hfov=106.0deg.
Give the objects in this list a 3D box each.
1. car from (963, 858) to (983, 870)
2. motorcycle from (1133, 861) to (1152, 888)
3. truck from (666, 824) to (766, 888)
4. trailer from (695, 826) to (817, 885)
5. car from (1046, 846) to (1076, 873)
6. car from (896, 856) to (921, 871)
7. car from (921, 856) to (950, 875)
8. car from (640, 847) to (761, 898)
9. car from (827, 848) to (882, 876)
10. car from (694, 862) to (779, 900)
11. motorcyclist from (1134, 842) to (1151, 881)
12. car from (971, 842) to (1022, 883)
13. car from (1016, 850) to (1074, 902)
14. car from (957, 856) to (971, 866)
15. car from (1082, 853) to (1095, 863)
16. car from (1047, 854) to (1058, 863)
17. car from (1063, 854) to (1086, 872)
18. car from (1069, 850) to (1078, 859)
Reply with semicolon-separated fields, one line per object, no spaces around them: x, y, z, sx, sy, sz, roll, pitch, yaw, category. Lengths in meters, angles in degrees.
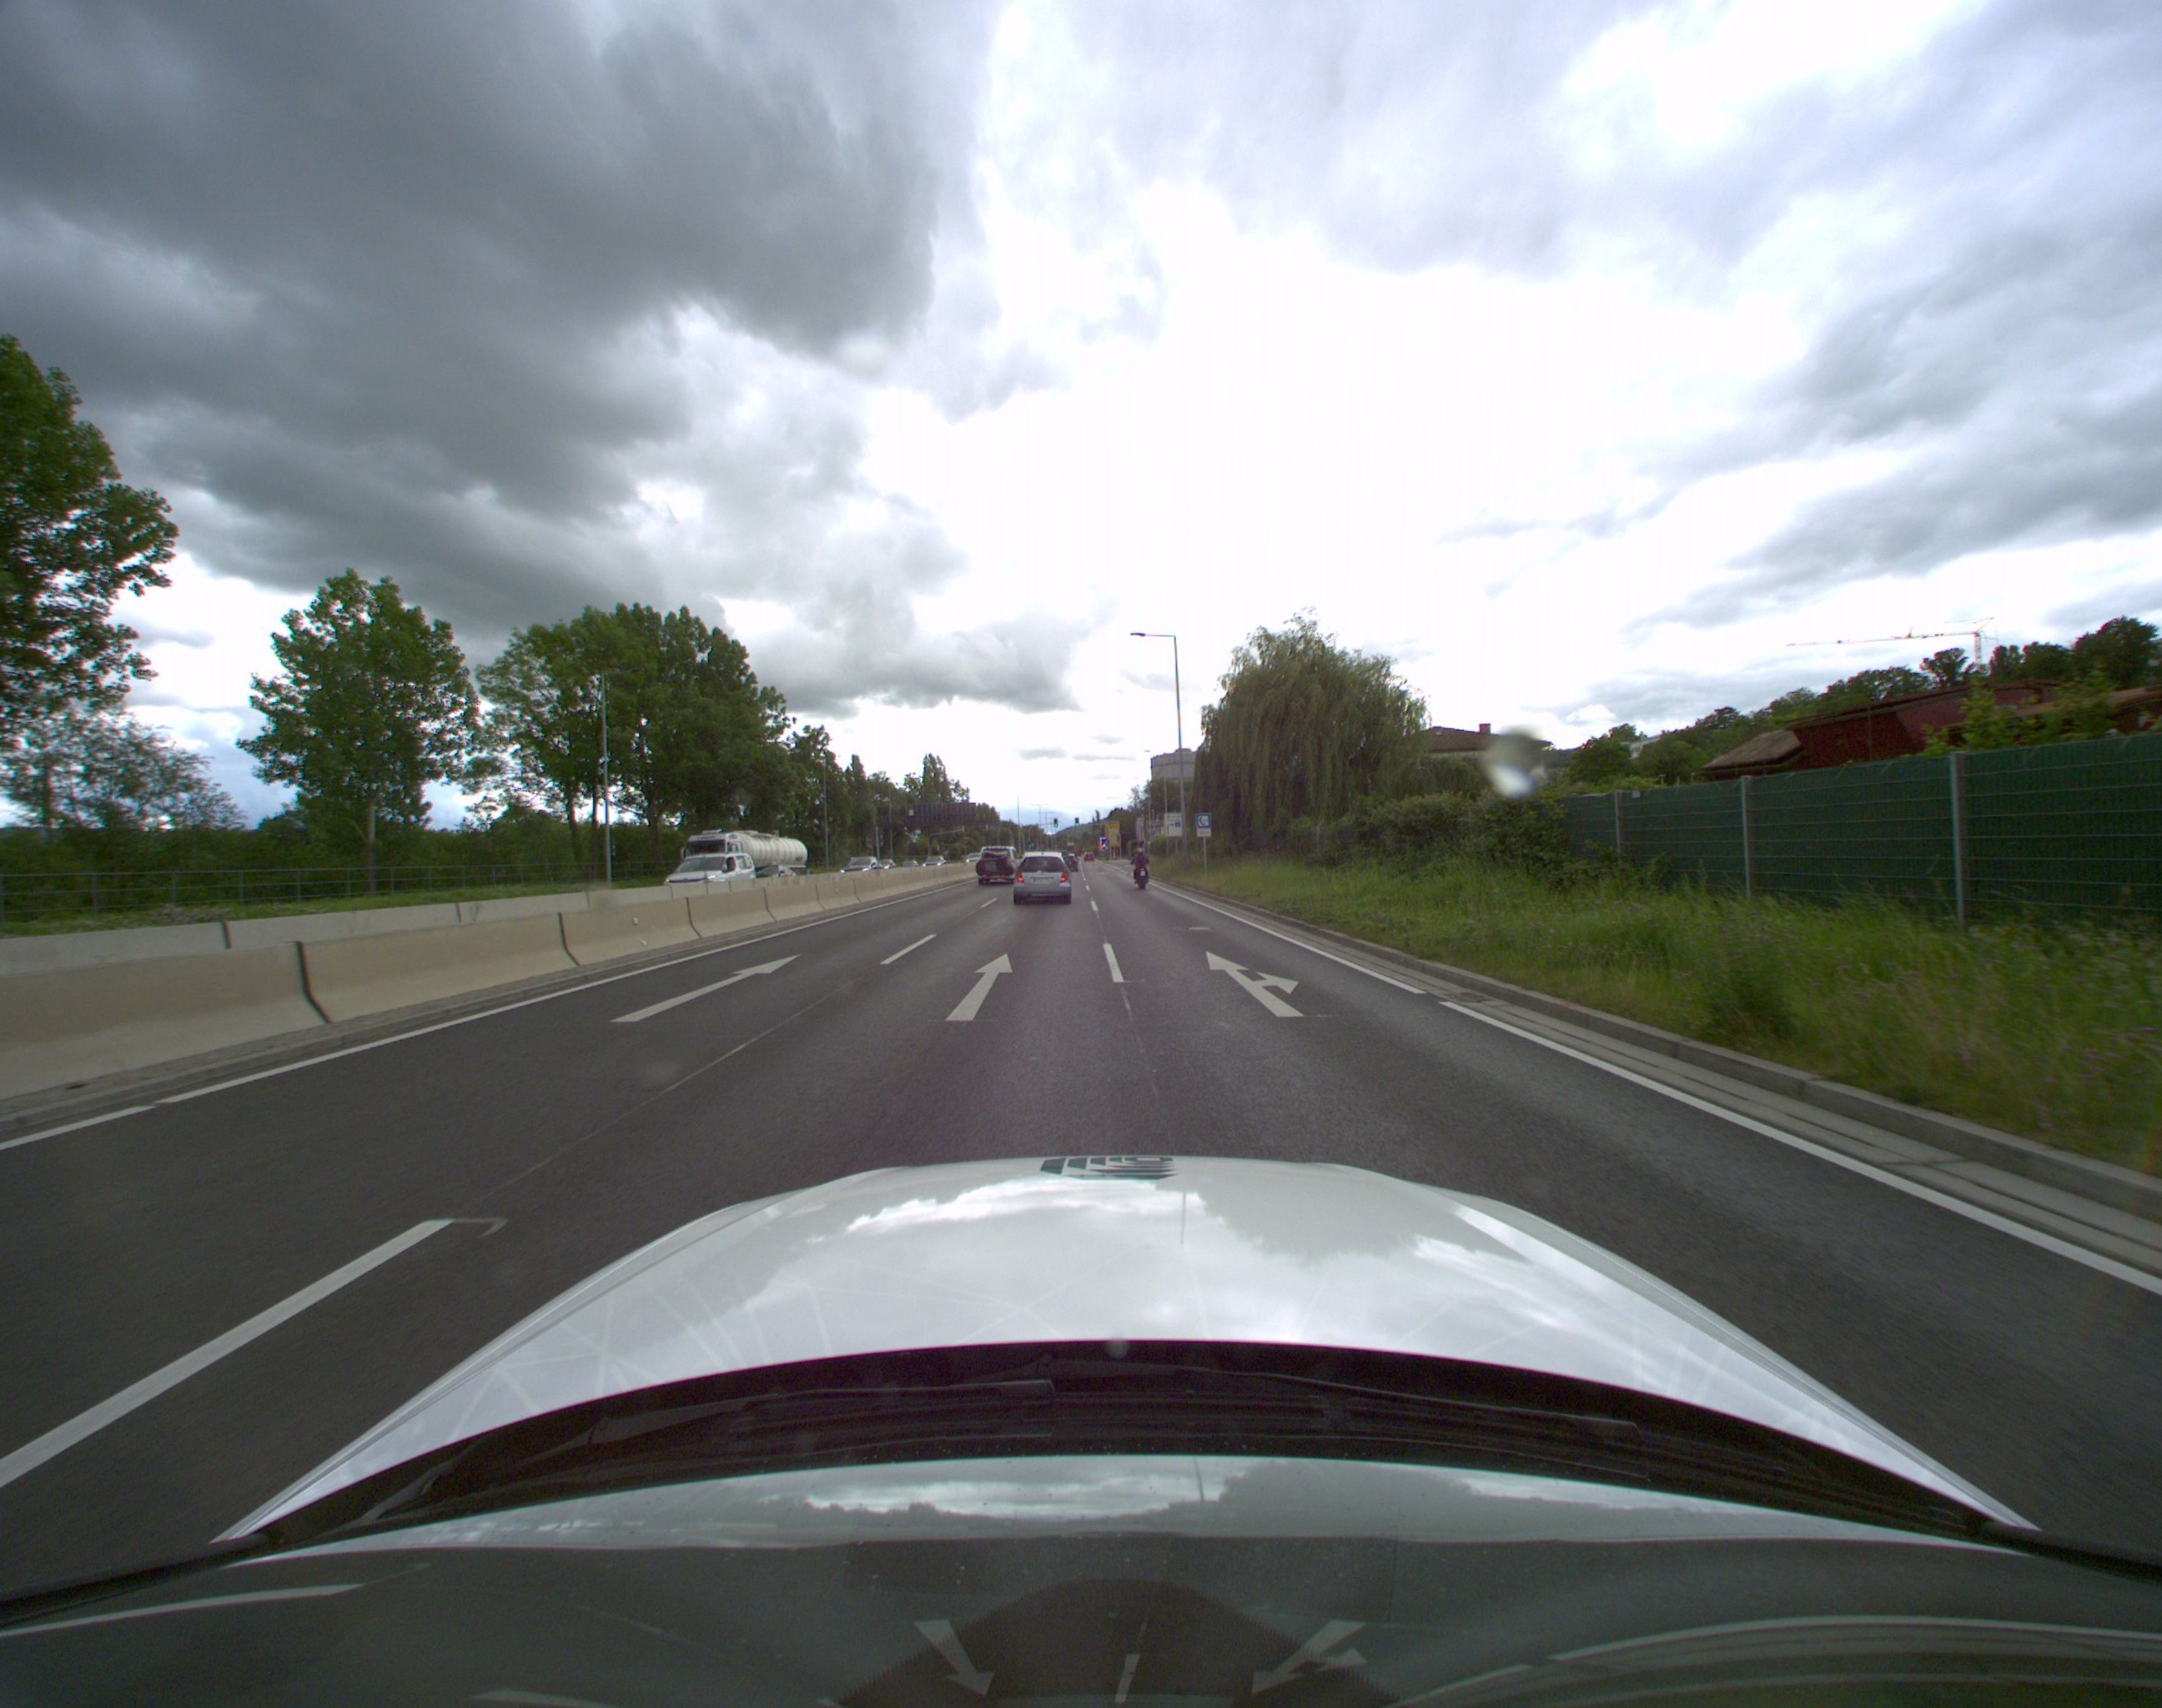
-14.830;1.337;112.199;1.986;1.559;4.888;0;0;2;car
2.564;0.844;34.233;0.704;1.040;2.027;0;0;2;motorcycle
-19.612;0.091;44.129;3.089;3.219;5.388;0;0;-1;truck
-19.765;0.046;50.615;3.092;3.220;11.661;0;0;-1;trailer
-1.271;0.353;53.246;1.901;1.684;4.000;0;0;0;car
-20.119;1.108;95.243;1.987;1.739;4.000;0;0;0;car
-13.976;1.069;78.472;1.987;1.739;4.000;0;0;0;car
-13.047;0.563;28.297;1.987;1.618;4.696;0;0;0;car
-13.718;0.420;49.531;1.987;1.618;4.696;0;0;0;car
-16.132;1.231;38.455;1.987;1.618;4.696;0;0;0;car
2.565;0.311;34.173;0.682;1.610;0.845;0;0;1;motorcyclist
-4.203;0.381;41.191;2.209;1.925;4.998;0;0;-2;car
-1.094;0.633;26.093;1.705;1.530;3.999;0;0;-1;car
-21.219;1.253;147.667;1.872;1.683;3.927;0;0;0;car
1.219;0.704;136.571;1.988;1.552;3.998;0;0;-1;car
-5.261;0.773;149.022;1.988;1.552;3.998;0;0;-1;car
-0.530;0.708;67.939;1.834;1.464;3.999;0;0;0;car
-1.627;0.128;181.698;1.987;2.013;4.000;0;0;0;car
